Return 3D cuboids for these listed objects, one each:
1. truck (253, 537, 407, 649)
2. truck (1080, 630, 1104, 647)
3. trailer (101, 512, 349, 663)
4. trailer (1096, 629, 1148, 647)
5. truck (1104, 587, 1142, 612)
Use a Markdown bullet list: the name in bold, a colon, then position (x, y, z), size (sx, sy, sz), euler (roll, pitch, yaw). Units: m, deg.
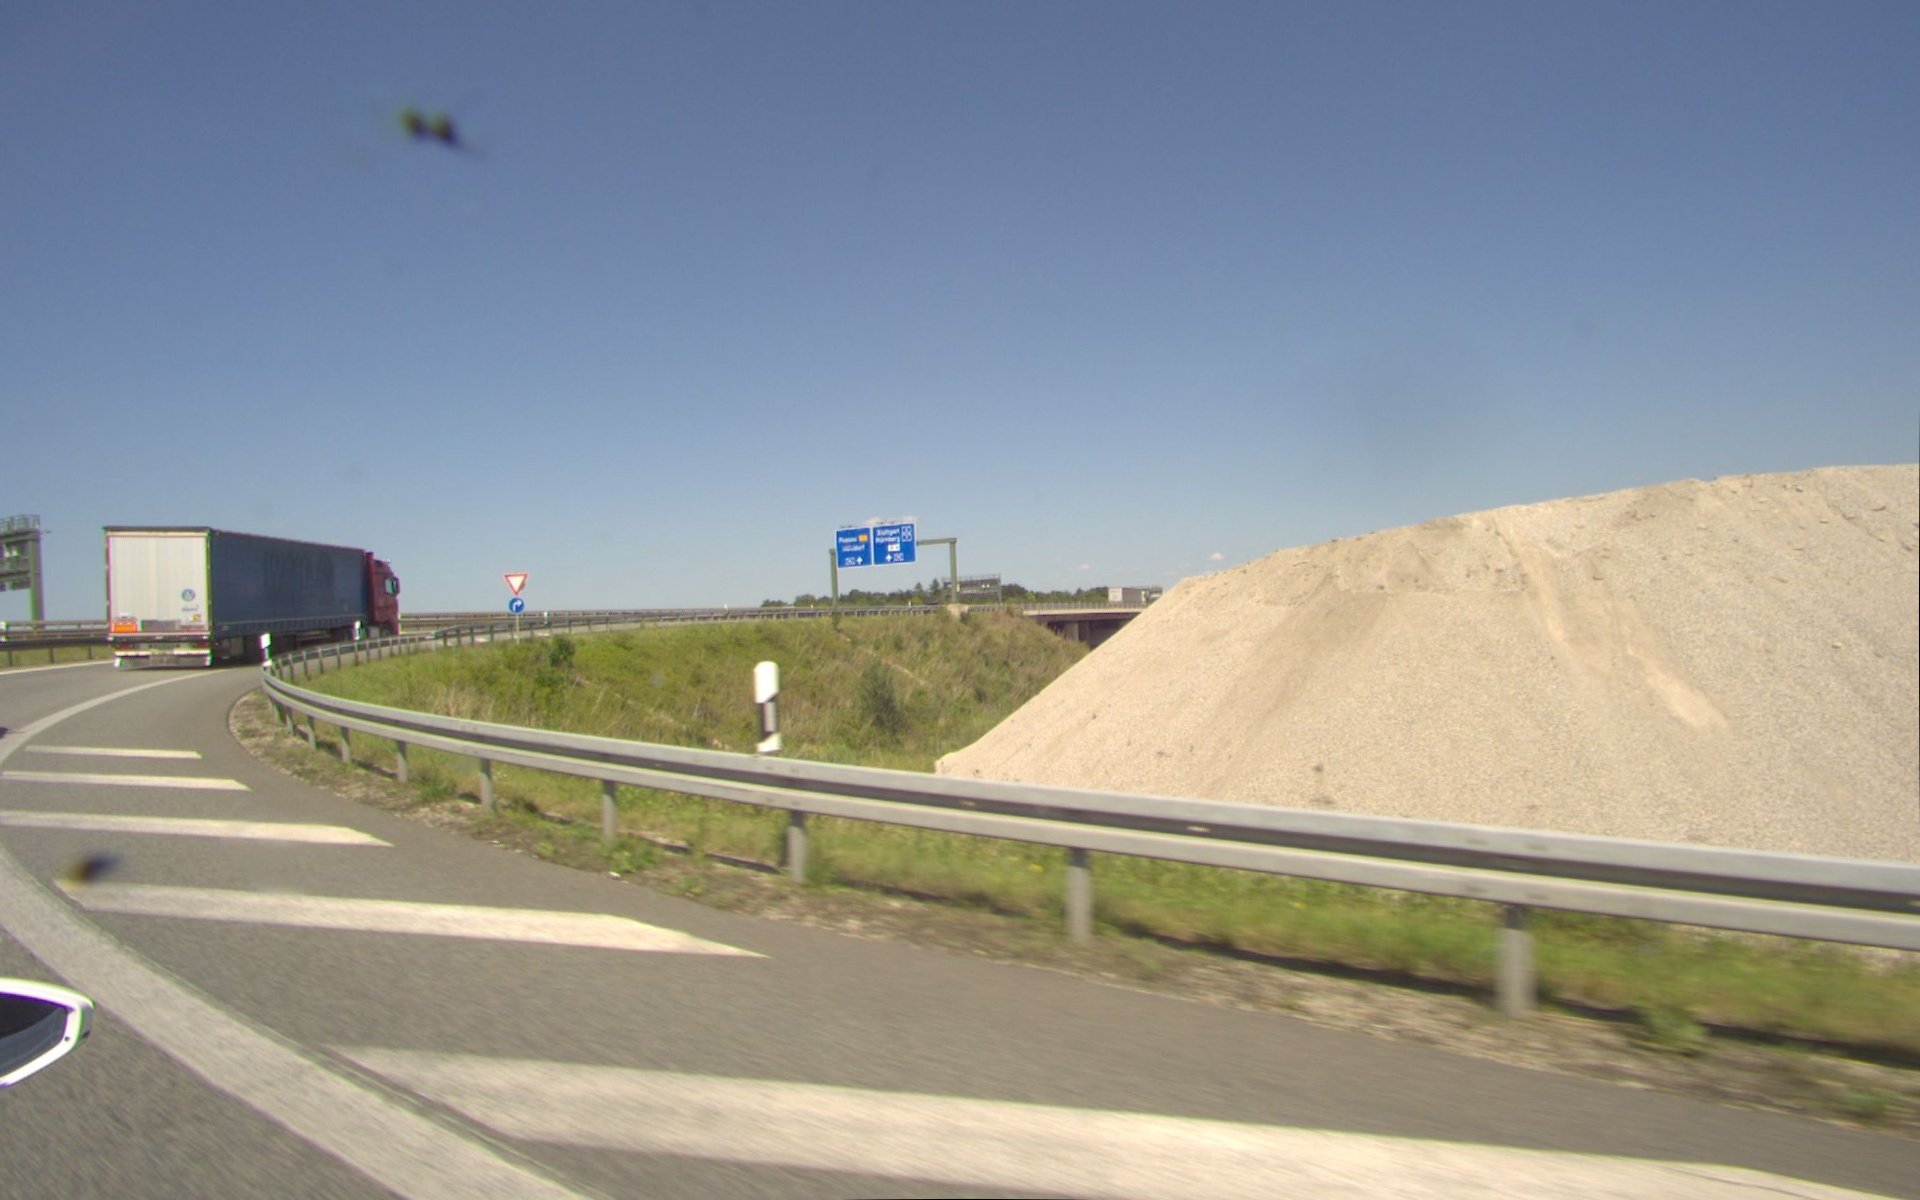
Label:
- **truck**: position (-25.660, -0.157, 41.252), size (2.867, 4.198, 6.924), euler (0, -1, -9)
- **truck**: position (24.081, 6.989, 182.632), size (3.927, 3.139, 2.627), euler (-1, -1, 15)
- **trailer**: position (-24.083, -0.188, 33.791), size (2.869, 4.198, 11.244), euler (0, -1, -15)
- **trailer**: position (29.286, 6.937, 181.193), size (8.995, 3.168, 2.640), euler (-1, -1, 15)
- **truck**: position (29.544, 0.016, 180.967), size (3.493, 4.199, 11.220), euler (1, 0, 26)
